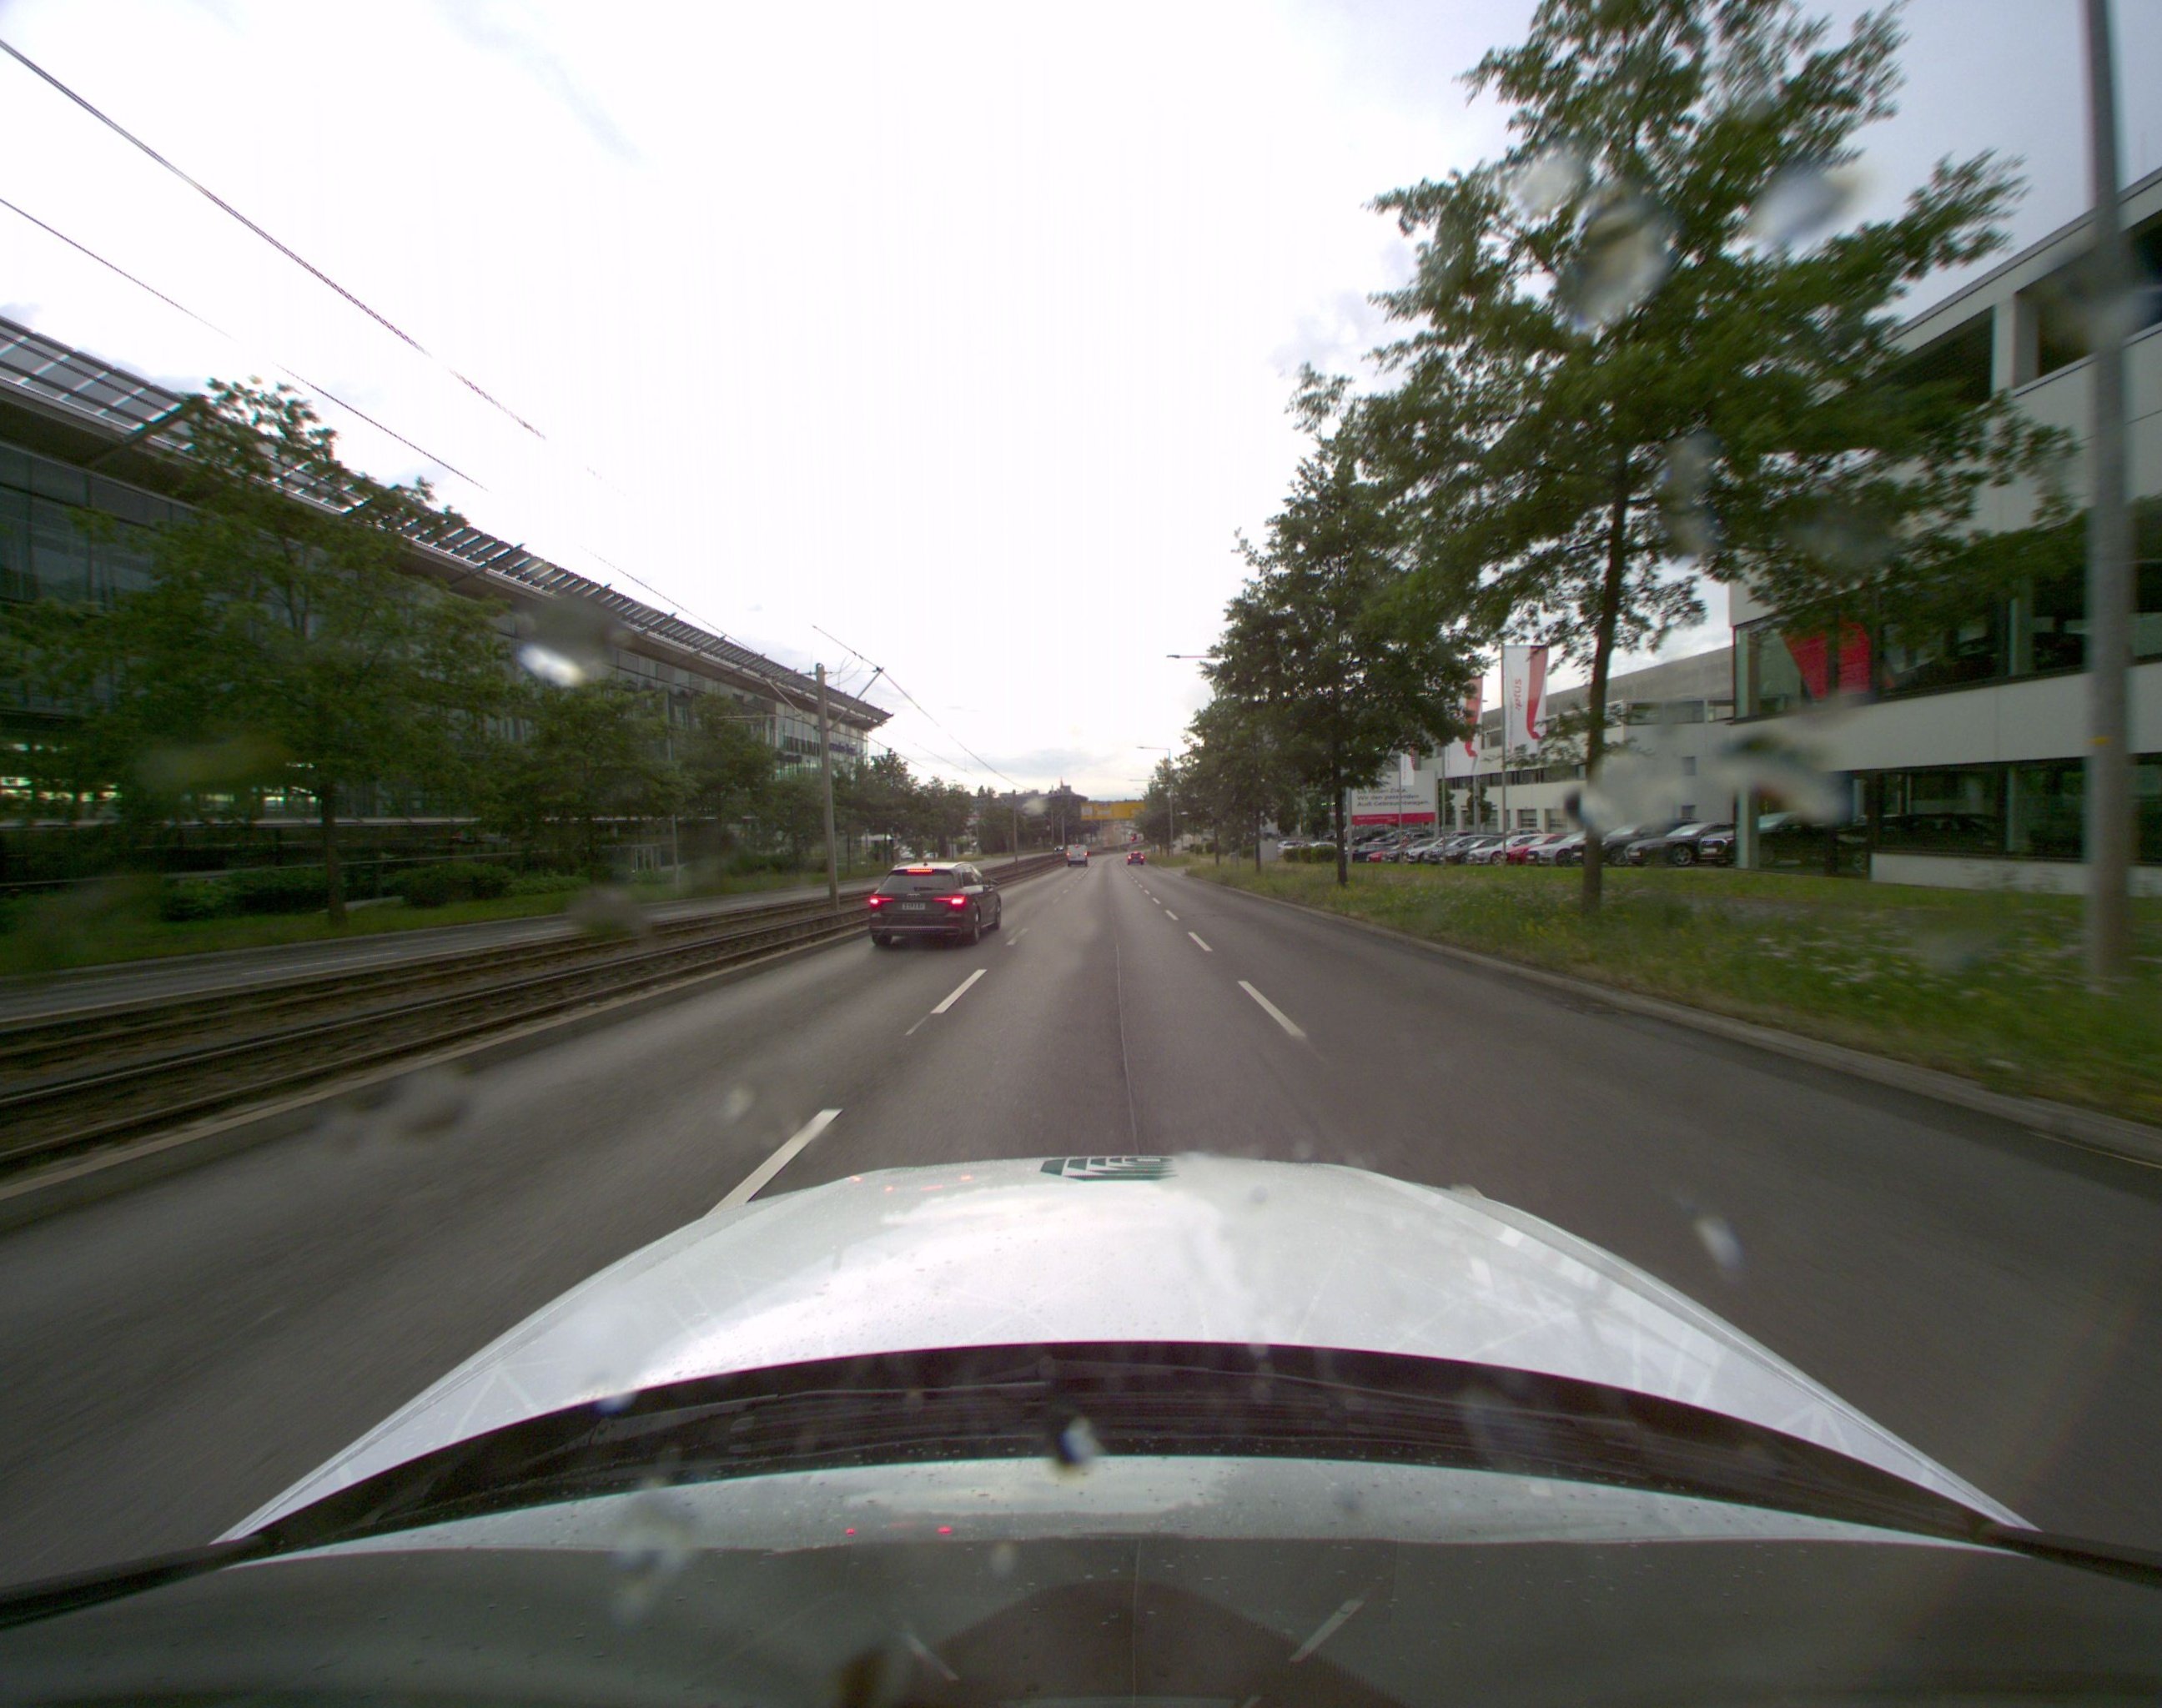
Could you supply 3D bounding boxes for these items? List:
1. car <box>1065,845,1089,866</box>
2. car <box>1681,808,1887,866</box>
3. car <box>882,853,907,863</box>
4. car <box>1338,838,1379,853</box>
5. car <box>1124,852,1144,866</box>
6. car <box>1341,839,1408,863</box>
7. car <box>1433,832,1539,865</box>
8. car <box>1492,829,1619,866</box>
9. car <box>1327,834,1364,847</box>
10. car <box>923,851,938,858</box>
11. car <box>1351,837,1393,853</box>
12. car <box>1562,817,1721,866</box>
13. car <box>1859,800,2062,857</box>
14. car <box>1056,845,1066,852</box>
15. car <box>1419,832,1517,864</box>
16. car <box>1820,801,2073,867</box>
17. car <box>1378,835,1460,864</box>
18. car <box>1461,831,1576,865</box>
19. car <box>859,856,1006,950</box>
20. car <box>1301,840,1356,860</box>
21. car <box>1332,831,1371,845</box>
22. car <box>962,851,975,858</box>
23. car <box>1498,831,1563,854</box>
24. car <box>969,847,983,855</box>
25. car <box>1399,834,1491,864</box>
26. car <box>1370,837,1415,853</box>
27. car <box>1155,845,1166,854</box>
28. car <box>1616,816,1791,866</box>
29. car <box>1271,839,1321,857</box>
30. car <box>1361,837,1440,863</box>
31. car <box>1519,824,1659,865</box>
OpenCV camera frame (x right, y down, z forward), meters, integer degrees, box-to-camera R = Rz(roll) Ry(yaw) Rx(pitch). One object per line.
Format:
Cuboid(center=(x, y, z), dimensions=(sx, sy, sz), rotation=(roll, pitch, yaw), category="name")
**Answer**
Cuboid(center=(-0.462, 0.146, 86.611), dimensions=(2.503, 2.177, 5.147), rotation=(0, 0, -1), category="car")
Cuboid(center=(20.563, -0.471, 23.970), dimensions=(4.382, 1.481, 1.931), rotation=(-2, -1, 0), category="car")
Cuboid(center=(-32.224, 0.729, 140.872), dimensions=(3.979, 1.750, 1.997), rotation=(0, 0, -5), category="car")
Cuboid(center=(31.507, -0.963, 92.443), dimensions=(4.091, 1.574, 1.826), rotation=(-1, 1, 0), category="car")
Cuboid(center=(5.913, 0.575, 91.491), dimensions=(2.015, 1.623, 3.999), rotation=(0, 0, -1), category="car")
Cuboid(center=(20.848, -0.199, 57.957), dimensions=(1.843, 1.593, 4.319), rotation=(-2, -1, -29), category="car")
Cuboid(center=(20.821, -0.285, 42.002), dimensions=(4.446, 1.456, 1.931), rotation=(-3, -1, 0), category="car")
Cuboid(center=(20.714, -0.276, 35.701), dimensions=(4.382, 1.348, 1.931), rotation=(-3, -1, 0), category="car")
Cuboid(center=(32.964, -1.685, 101.552), dimensions=(4.091, 1.574, 1.760), rotation=(-1, 1, 0), category="car")
Cuboid(center=(-33.776, 0.165, 182.534), dimensions=(2.006, 1.510, 3.962), rotation=(0, -1, -30), category="car")
Cuboid(center=(32.041, -0.995, 89.757), dimensions=(4.092, 1.574, 1.693), rotation=(-2, 1, 0), category="car")
Cuboid(center=(20.442, -0.434, 29.855), dimensions=(4.381, 1.500, 2.041), rotation=(-3, -1, 1), category="car")
Cuboid(center=(26.838, -0.744, 24.947), dimensions=(4.264, 1.551, 1.826), rotation=(-2, -1, -1), category="car")
Cuboid(center=(-4.822, -1.363, 194.216), dimensions=(1.874, 1.520, 4.409), rotation=(-4, 1, 4), category="car")
Cuboid(center=(21.229, -0.313, 44.797), dimensions=(4.446, 1.528, 1.931), rotation=(-3, -1, 0), category="car")
Cuboid(center=(20.379, -0.414, 19.467), dimensions=(1.891, 1.338, 3.923), rotation=(-2, -1, 1), category="car")
Cuboid(center=(20.919, -0.258, 50.504), dimensions=(4.264, 1.593, 1.826), rotation=(-2, -1, -1), category="car")
Cuboid(center=(20.871, -0.274, 38.967), dimensions=(4.446, 1.456, 1.931), rotation=(-2, -1, 0), category="car")
Cuboid(center=(-2.575, 0.782, 15.279), dimensions=(1.757, 1.463, 4.628), rotation=(0, 0, 2), category="car")
Cuboid(center=(21.273, -0.360, 70.167), dimensions=(4.101, 1.594, 1.944), rotation=(-1, -1, -7), category="car")
Cuboid(center=(32.442, -1.921, 97.721), dimensions=(4.091, 1.574, 1.693), rotation=(-1, 1, 0), category="car")
Cuboid(center=(-25.628, 0.186, 185.688), dimensions=(2.002, 1.510, 3.968), rotation=(0, -1, -24), category="car")
Cuboid(center=(38.659, -0.995, 70.114), dimensions=(4.505, 1.855, 2.003), rotation=(-1, 0, 5), category="car")
Cuboid(center=(-21.878, -0.545, 170.569), dimensions=(1.983, 1.650, 4.007), rotation=(0, 0, 7), category="car")
Cuboid(center=(21.278, -0.272, 47.732), dimensions=(4.446, 1.551, 1.931), rotation=(-3, -1, 0), category="car")
Cuboid(center=(32.515, -0.942, 85.016), dimensions=(4.091, 1.574, 1.692), rotation=(-2, 0, 0), category="car")
Cuboid(center=(17.151, -0.996, 175.871), dimensions=(2.014, 1.769, 4.002), rotation=(-1, 3, 1), category="car")
Cuboid(center=(20.257, -0.400, 26.610), dimensions=(4.307, 1.378, 1.836), rotation=(-3, -1, -1), category="car")
Cuboid(center=(21.088, -0.578, 80.050), dimensions=(4.504, 1.594, 1.692), rotation=(-2, -1, 0), category="car")
Cuboid(center=(21.038, -0.229, 53.729), dimensions=(4.452, 1.551, 1.929), rotation=(-2, -1, -4), category="car")
Cuboid(center=(20.384, -0.360, 32.816), dimensions=(4.381, 1.427, 1.891), rotation=(-3, -1, 1), category="car")
